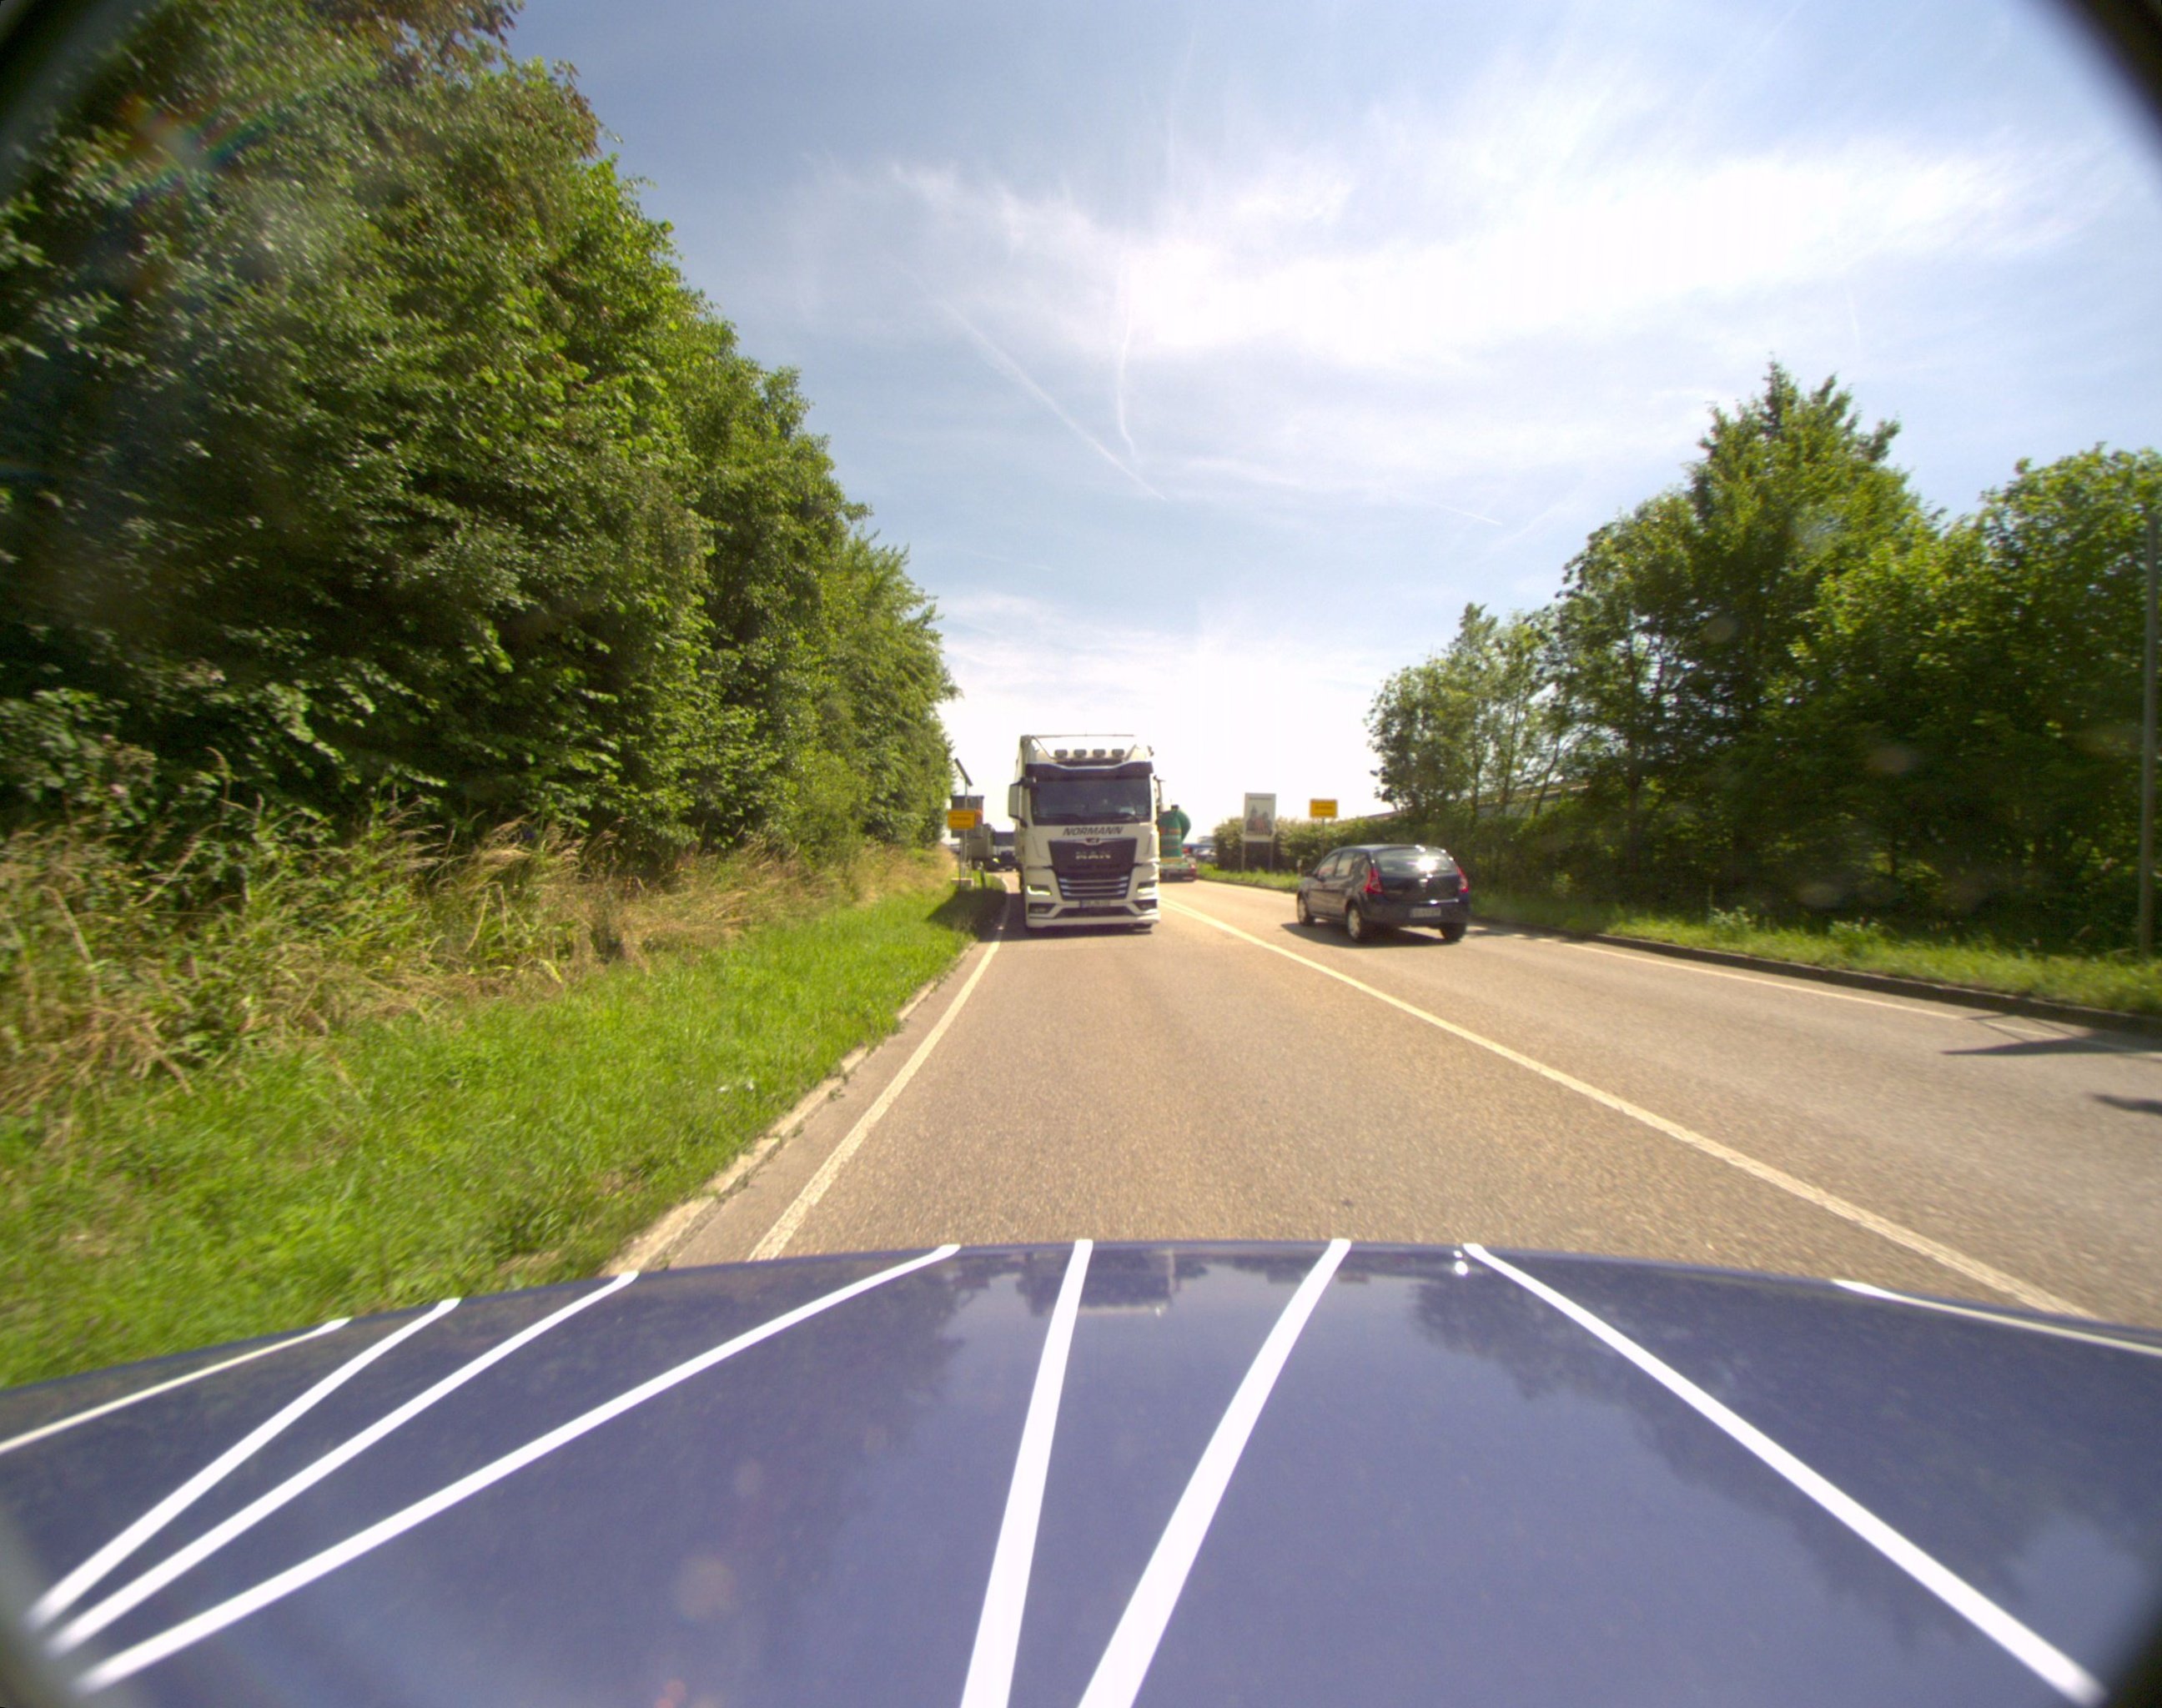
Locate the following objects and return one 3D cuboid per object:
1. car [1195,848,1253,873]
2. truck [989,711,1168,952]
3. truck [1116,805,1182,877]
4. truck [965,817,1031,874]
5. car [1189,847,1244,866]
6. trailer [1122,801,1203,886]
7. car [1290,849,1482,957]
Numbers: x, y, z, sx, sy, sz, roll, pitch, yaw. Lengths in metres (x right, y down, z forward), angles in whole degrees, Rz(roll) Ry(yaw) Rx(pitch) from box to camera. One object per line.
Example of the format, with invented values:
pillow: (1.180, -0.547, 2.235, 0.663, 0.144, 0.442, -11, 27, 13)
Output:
car: (10.799, 0.500, 57.672, 3.997, 1.739, 2.000, 2, 0, 0)
truck: (-0.448, -0.631, 21.889, 2.981, 4.071, 17.624, -2, 2, -3)
truck: (3.744, -0.692, 43.556, 2.586, 3.658, 7.872, -2, 0, -3)
truck: (-7.762, -0.866, 68.046, 2.985, 4.447, 16.425, -2, 2, -16)
car: (10.640, 0.201, 59.923, 3.997, 1.324, 2.000, 2, 0, 0)
trailer: (3.992, -0.495, 39.211, 2.585, 3.797, 8.911, -2, 0, -4)
car: (4.989, 0.700, 13.061, 1.687, 1.520, 4.070, -2, 0, 1)
